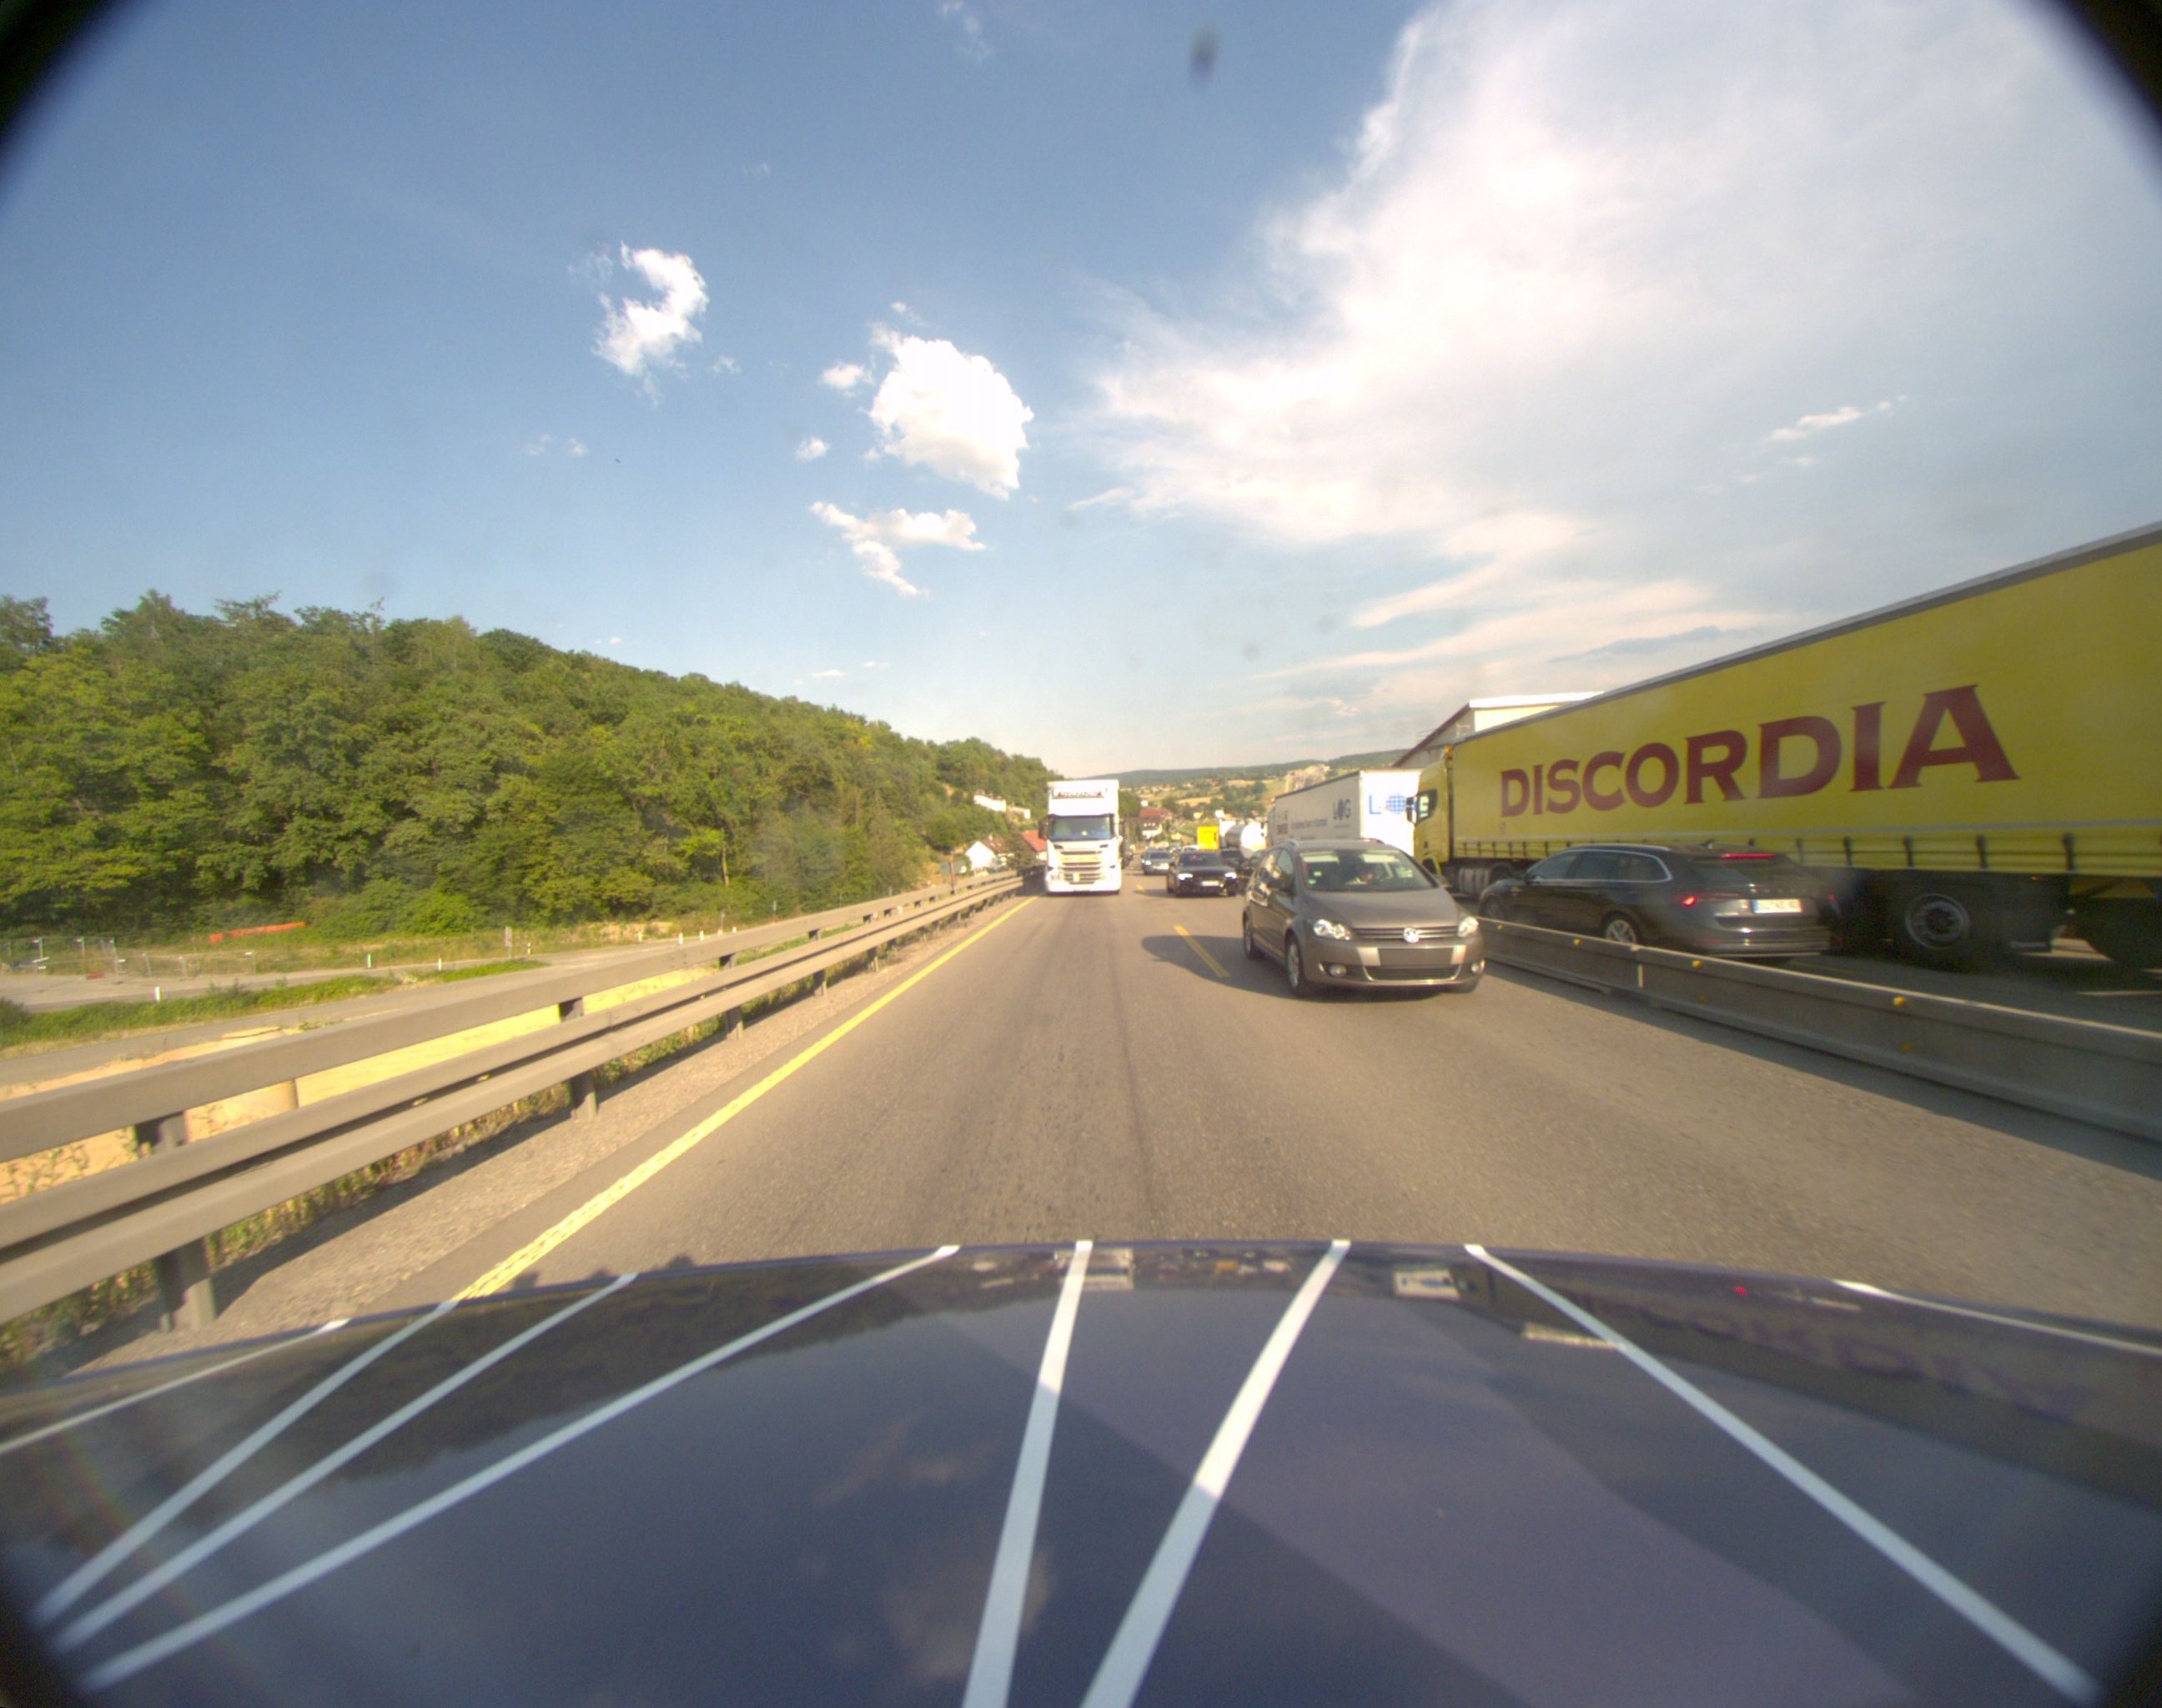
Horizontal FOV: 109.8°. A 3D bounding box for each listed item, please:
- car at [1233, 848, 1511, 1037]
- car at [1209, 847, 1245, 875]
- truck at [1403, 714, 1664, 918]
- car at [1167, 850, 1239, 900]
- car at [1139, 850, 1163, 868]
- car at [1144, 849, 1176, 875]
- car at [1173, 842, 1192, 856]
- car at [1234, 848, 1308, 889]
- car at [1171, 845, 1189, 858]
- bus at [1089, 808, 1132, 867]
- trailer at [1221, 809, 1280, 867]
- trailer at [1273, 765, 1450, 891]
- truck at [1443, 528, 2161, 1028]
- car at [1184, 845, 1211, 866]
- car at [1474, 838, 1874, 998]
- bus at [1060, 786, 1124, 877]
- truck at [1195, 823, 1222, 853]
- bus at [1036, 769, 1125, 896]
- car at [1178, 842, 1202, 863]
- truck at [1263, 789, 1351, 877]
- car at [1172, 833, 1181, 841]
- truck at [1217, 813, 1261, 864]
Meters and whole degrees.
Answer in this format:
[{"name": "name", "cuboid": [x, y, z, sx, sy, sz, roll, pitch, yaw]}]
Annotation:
[{"name": "car", "cuboid": [2.914, 0.749, 8.594, 1.687, 1.565, 4.099, -2, 1, 2]}, {"name": "car", "cuboid": [8.250, 0.353, 43.309, 1.659, 1.421, 4.566, -2, 1, 7]}, {"name": "truck", "cuboid": [10.355, -0.800, 18.291, 2.720, 4.065, 6.100, -1, 1, 1]}, {"name": "car", "cuboid": [3.814, 0.613, 24.420, 1.866, 1.391, 4.000, -1, 1, 3]}, {"name": "car", "cuboid": [5.313, 0.361, 57.638, 1.627, 1.239, 4.000, -1, 1, 3]}, {"name": "car", "cuboid": [4.672, 0.457, 45.151, 1.698, 1.390, 4.001, -3, 0, 4]}, {"name": "car", "cuboid": [10.995, -0.592, 82.334, 1.798, 1.405, 4.001, 2, 1, 5]}, {"name": "car", "cuboid": [7.436, 0.506, 30.179, 1.812, 1.417, 4.673, -2, 1, 1]}, {"name": "car", "cuboid": [11.932, -0.341, 91.716, 1.729, 1.521, 4.000, -2, 1, 3]}, {"name": "bus", "cuboid": [2.632, -1.330, 64.724, 2.984, 4.553, 10.907, -1, 0, 5]}, {"name": "trailer", "cuboid": [12.252, -1.140, 55.810, 2.603, 3.858, 10.578, -1, 1, 4]}, {"name": "trailer", "cuboid": [10.853, -0.926, 31.613, 2.864, 4.013, 13.971, -1, 1, 3]}, {"name": "truck", "cuboid": [10.240, -0.711, 11.819, 2.714, 4.064, 14.152, -1, 1, 1]}, {"name": "car", "cuboid": [8.967, 0.107, 58.659, 1.661, 1.501, 3.690, -1, 1, 3]}, {"name": "car", "cuboid": [6.916, 0.600, 9.576, 1.658, 1.514, 4.286, -2, 1, 0]}, {"name": "bus", "cuboid": [0.838, -1.141, 43.343, 2.984, 4.553, 9.969, -1, 0, 4]}, {"name": "truck", "cuboid": [16.322, -2.050, 97.682, 2.899, 3.689, 9.491, -1, 1, 7]}, {"name": "bus", "cuboid": [0.307, -0.792, 30.270, 2.634, 4.077, 11.315, -1, 1, 4]}, {"name": "car", "cuboid": [9.937, -0.156, 69.621, 1.866, 1.899, 4.000, -1, 1, 3]}, {"name": "truck", "cuboid": [11.198, -1.016, 38.227, 2.850, 4.013, 6.101, -1, 1, 3]}, {"name": "car", "cuboid": [26.663, -4.797, 212.423, 1.822, 1.988, 4.754, 0, -1, -2]}, {"name": "truck", "cuboid": [12.615, -1.214, 61.231, 2.605, 3.865, 6.203, -1, 1, 4]}]
